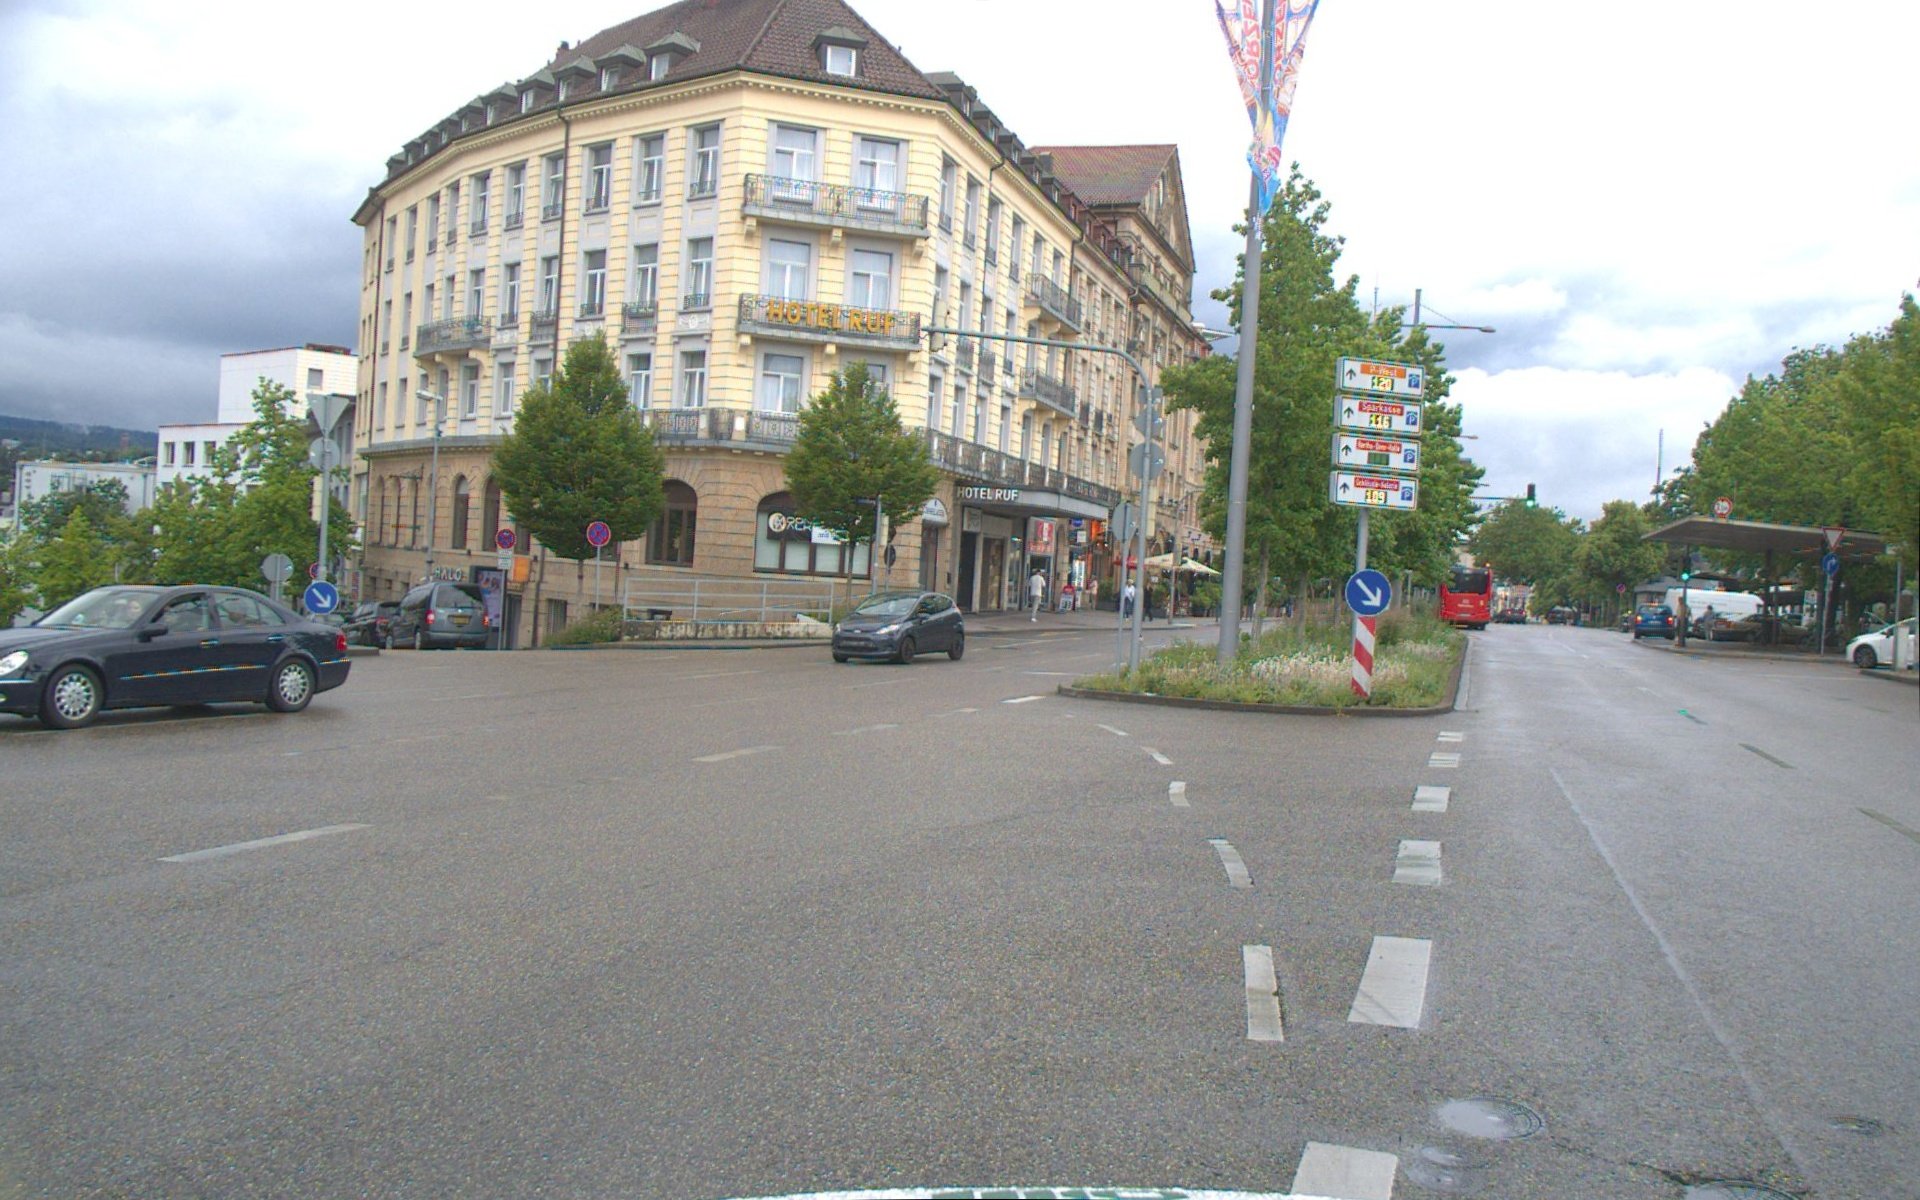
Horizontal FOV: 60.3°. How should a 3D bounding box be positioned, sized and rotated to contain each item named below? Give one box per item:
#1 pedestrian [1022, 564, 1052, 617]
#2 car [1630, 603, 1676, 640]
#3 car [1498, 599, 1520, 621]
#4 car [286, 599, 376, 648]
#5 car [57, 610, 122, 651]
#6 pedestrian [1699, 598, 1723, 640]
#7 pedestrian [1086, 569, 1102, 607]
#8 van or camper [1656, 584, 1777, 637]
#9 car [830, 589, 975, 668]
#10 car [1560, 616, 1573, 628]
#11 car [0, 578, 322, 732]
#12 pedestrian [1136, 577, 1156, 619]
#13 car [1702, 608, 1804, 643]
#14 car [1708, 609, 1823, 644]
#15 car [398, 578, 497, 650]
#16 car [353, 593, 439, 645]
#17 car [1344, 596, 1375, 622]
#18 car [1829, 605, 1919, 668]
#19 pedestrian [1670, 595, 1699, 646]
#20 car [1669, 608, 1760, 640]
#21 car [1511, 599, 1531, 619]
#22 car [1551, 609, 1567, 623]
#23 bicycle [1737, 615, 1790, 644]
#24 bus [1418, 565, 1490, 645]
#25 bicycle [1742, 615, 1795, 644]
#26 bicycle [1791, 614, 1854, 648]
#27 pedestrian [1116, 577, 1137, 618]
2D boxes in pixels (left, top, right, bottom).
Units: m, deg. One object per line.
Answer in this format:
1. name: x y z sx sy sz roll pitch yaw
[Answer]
1. pedestrian: 2.694 -0.329 57.894 0.861 1.844 0.751 1 0 18
2. car: 32.085 0.988 76.649 1.821 1.596 3.999 2 0 22
3. car: 53.702 0.985 161.889 1.952 2.049 4.002 1 0 18
4. car: -20.434 0.735 53.683 1.750 1.504 3.949 1 0 -36
5. car: -32.129 1.111 61.032 1.616 1.422 3.950 1 0 -35
6. pedestrian: 34.254 0.876 75.454 0.838 1.867 1.190 2 -1 18
7. pedestrian: 5.990 -0.532 73.984 0.652 1.693 0.537 1 0 10
8. van or camper: 41.900 0.559 91.669 5.836 2.811 2.194 1 0 -9
9. car: -1.145 0.585 34.737 1.642 1.539 3.863 1 0 21
10. car: 89.127 3.250 243.123 1.610 1.690 3.651 1 0 18
11. car: -9.062 0.517 17.691 1.916 1.447 3.998 1 0 24
12. pedestrian: 7.664 -0.085 68.109 0.667 1.693 0.807 1 0 18
13. car: 36.324 1.162 75.808 3.917 1.383 1.859 2 0 -12
14. car: 35.184 1.137 72.322 4.101 1.348 1.839 2 0 -2
15. car: -13.717 0.346 44.166 1.613 1.790 3.958 1 1 -31
16. car: -16.974 0.543 49.675 1.613 1.422 3.958 1 1 -31
17. car: 32.175 0.728 133.061 1.952 2.049 5.002 1 0 19
18. car: 25.223 0.966 42.923 1.733 1.572 4.747 2 0 -21
19. pedestrian: 25.937 0.727 59.231 0.730 1.777 0.837 2 -1 10
20. car: 39.307 1.237 86.145 3.912 1.468 1.861 2 0 -8
21. car: 59.746 0.961 176.201 1.952 2.049 4.002 1 0 18
22. car: 69.710 1.912 192.489 1.561 1.588 3.651 1 0 18
23. bicycle: 30.576 1.106 62.956 1.790 1.074 0.420 1 0 0
24. bus: 26.849 0.282 89.930 3.470 4.049 11.177 1 0 17
25. bicycle: 30.544 1.104 62.494 1.790 1.074 0.420 1 0 0
26. bicycle: 28.346 1.011 54.371 1.789 1.074 0.420 1 0 18
27. pedestrian: 6.910 -0.099 68.497 0.667 1.693 0.807 1 0 21
